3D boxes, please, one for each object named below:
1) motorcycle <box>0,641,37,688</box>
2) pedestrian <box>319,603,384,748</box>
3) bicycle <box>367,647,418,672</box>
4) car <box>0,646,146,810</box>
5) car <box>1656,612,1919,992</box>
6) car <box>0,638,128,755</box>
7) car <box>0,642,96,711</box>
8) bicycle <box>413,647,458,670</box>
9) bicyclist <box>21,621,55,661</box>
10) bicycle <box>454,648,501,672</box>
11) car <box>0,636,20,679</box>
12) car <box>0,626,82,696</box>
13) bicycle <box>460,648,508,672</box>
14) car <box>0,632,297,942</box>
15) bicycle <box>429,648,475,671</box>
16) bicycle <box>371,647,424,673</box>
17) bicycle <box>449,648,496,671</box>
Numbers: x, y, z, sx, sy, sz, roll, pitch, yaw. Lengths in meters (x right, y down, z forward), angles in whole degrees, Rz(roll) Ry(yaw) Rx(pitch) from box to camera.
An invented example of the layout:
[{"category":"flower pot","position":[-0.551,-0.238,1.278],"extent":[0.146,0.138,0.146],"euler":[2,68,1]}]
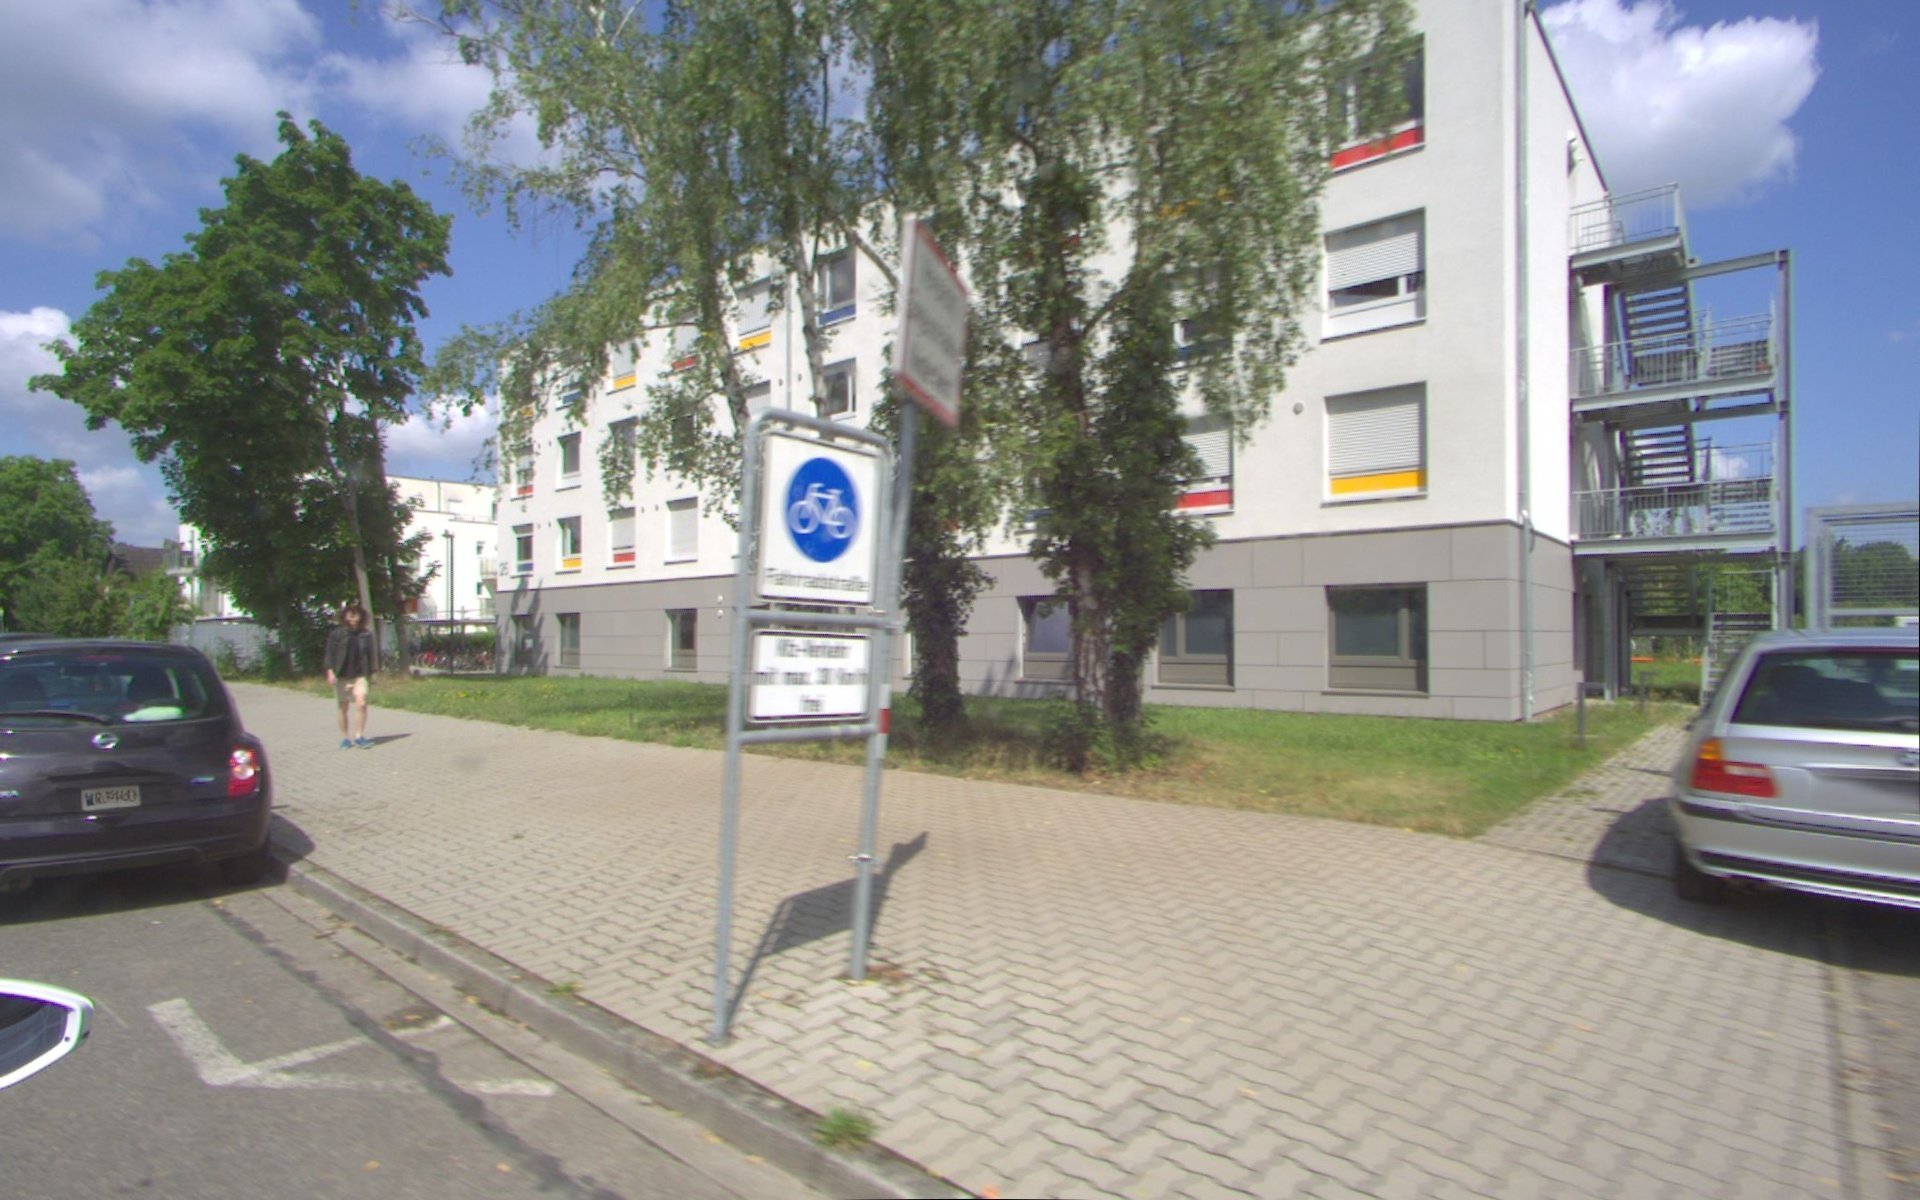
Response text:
[{"category":"motorcycle","position":[-28.857,1.939,30.174],"extent":[0.859,1.378,1.421],"euler":[-2,-3,42]},{"category":"pedestrian","position":[-7.705,0.940,12.681],"extent":[0.605,1.767,0.717],"euler":[2,-3,-36]},{"category":"bicycle","position":[-27.257,2.832,48.126],"extent":[0.681,1.093,2.035],"euler":[-1,-1,43]},{"category":"car","position":[-9.912,1.222,10.562],"extent":[1.654,1.457,4.166],"euler":[3,-4,-44]},{"category":"car","position":[5.178,0.831,5.616],"extent":[1.738,1.449,4.221],"euler":[-2,-1,40]},{"category":"car","position":[-13.766,1.387,15.139],"extent":[1.652,1.571,3.605],"euler":[3,-4,-42]},{"category":"car","position":[-20.956,1.691,22.674],"extent":[3.503,1.452,1.656],"euler":[-2,-4,42]},{"category":"bicycle","position":[-28.315,3.150,54.108],"extent":[0.681,1.093,2.035],"euler":[-1,-1,43]},{"category":"bicyclist","position":[-41.746,1.860,45.341],"extent":[0.773,1.808,0.893],"euler":[1,-2,-17]},{"category":"bicycle","position":[-24.358,3.015,50.552],"extent":[0.681,1.093,2.035],"euler":[-1,-1,43]},{"category":"car","position":[-35.844,2.095,36.759],"extent":[3.958,1.538,1.670],"euler":[-2,-4,43]},{"category":"car","position":[-25.930,1.697,27.987],"extent":[1.863,1.828,3.399],"euler":[3,-4,-44]},{"category":"bicycle","position":[-23.686,2.993,49.877],"extent":[0.681,1.093,2.035],"euler":[-1,-1,43]},{"category":"car","position":[-5.841,1.007,6.654],"extent":[1.654,1.524,3.961],"euler":[3,-4,-44]},{"category":"bicycle","position":[-26.577,3.098,52.417],"extent":[0.681,1.093,2.035],"euler":[-1,-1,43]},{"category":"bicycle","position":[-26.314,2.805,46.856],"extent":[0.618,1.134,2.076],"euler":[-1,-1,45]},{"category":"bicycle","position":[-24.866,3.038,51.131],"extent":[0.681,1.093,2.035],"euler":[-1,-1,43]}]
